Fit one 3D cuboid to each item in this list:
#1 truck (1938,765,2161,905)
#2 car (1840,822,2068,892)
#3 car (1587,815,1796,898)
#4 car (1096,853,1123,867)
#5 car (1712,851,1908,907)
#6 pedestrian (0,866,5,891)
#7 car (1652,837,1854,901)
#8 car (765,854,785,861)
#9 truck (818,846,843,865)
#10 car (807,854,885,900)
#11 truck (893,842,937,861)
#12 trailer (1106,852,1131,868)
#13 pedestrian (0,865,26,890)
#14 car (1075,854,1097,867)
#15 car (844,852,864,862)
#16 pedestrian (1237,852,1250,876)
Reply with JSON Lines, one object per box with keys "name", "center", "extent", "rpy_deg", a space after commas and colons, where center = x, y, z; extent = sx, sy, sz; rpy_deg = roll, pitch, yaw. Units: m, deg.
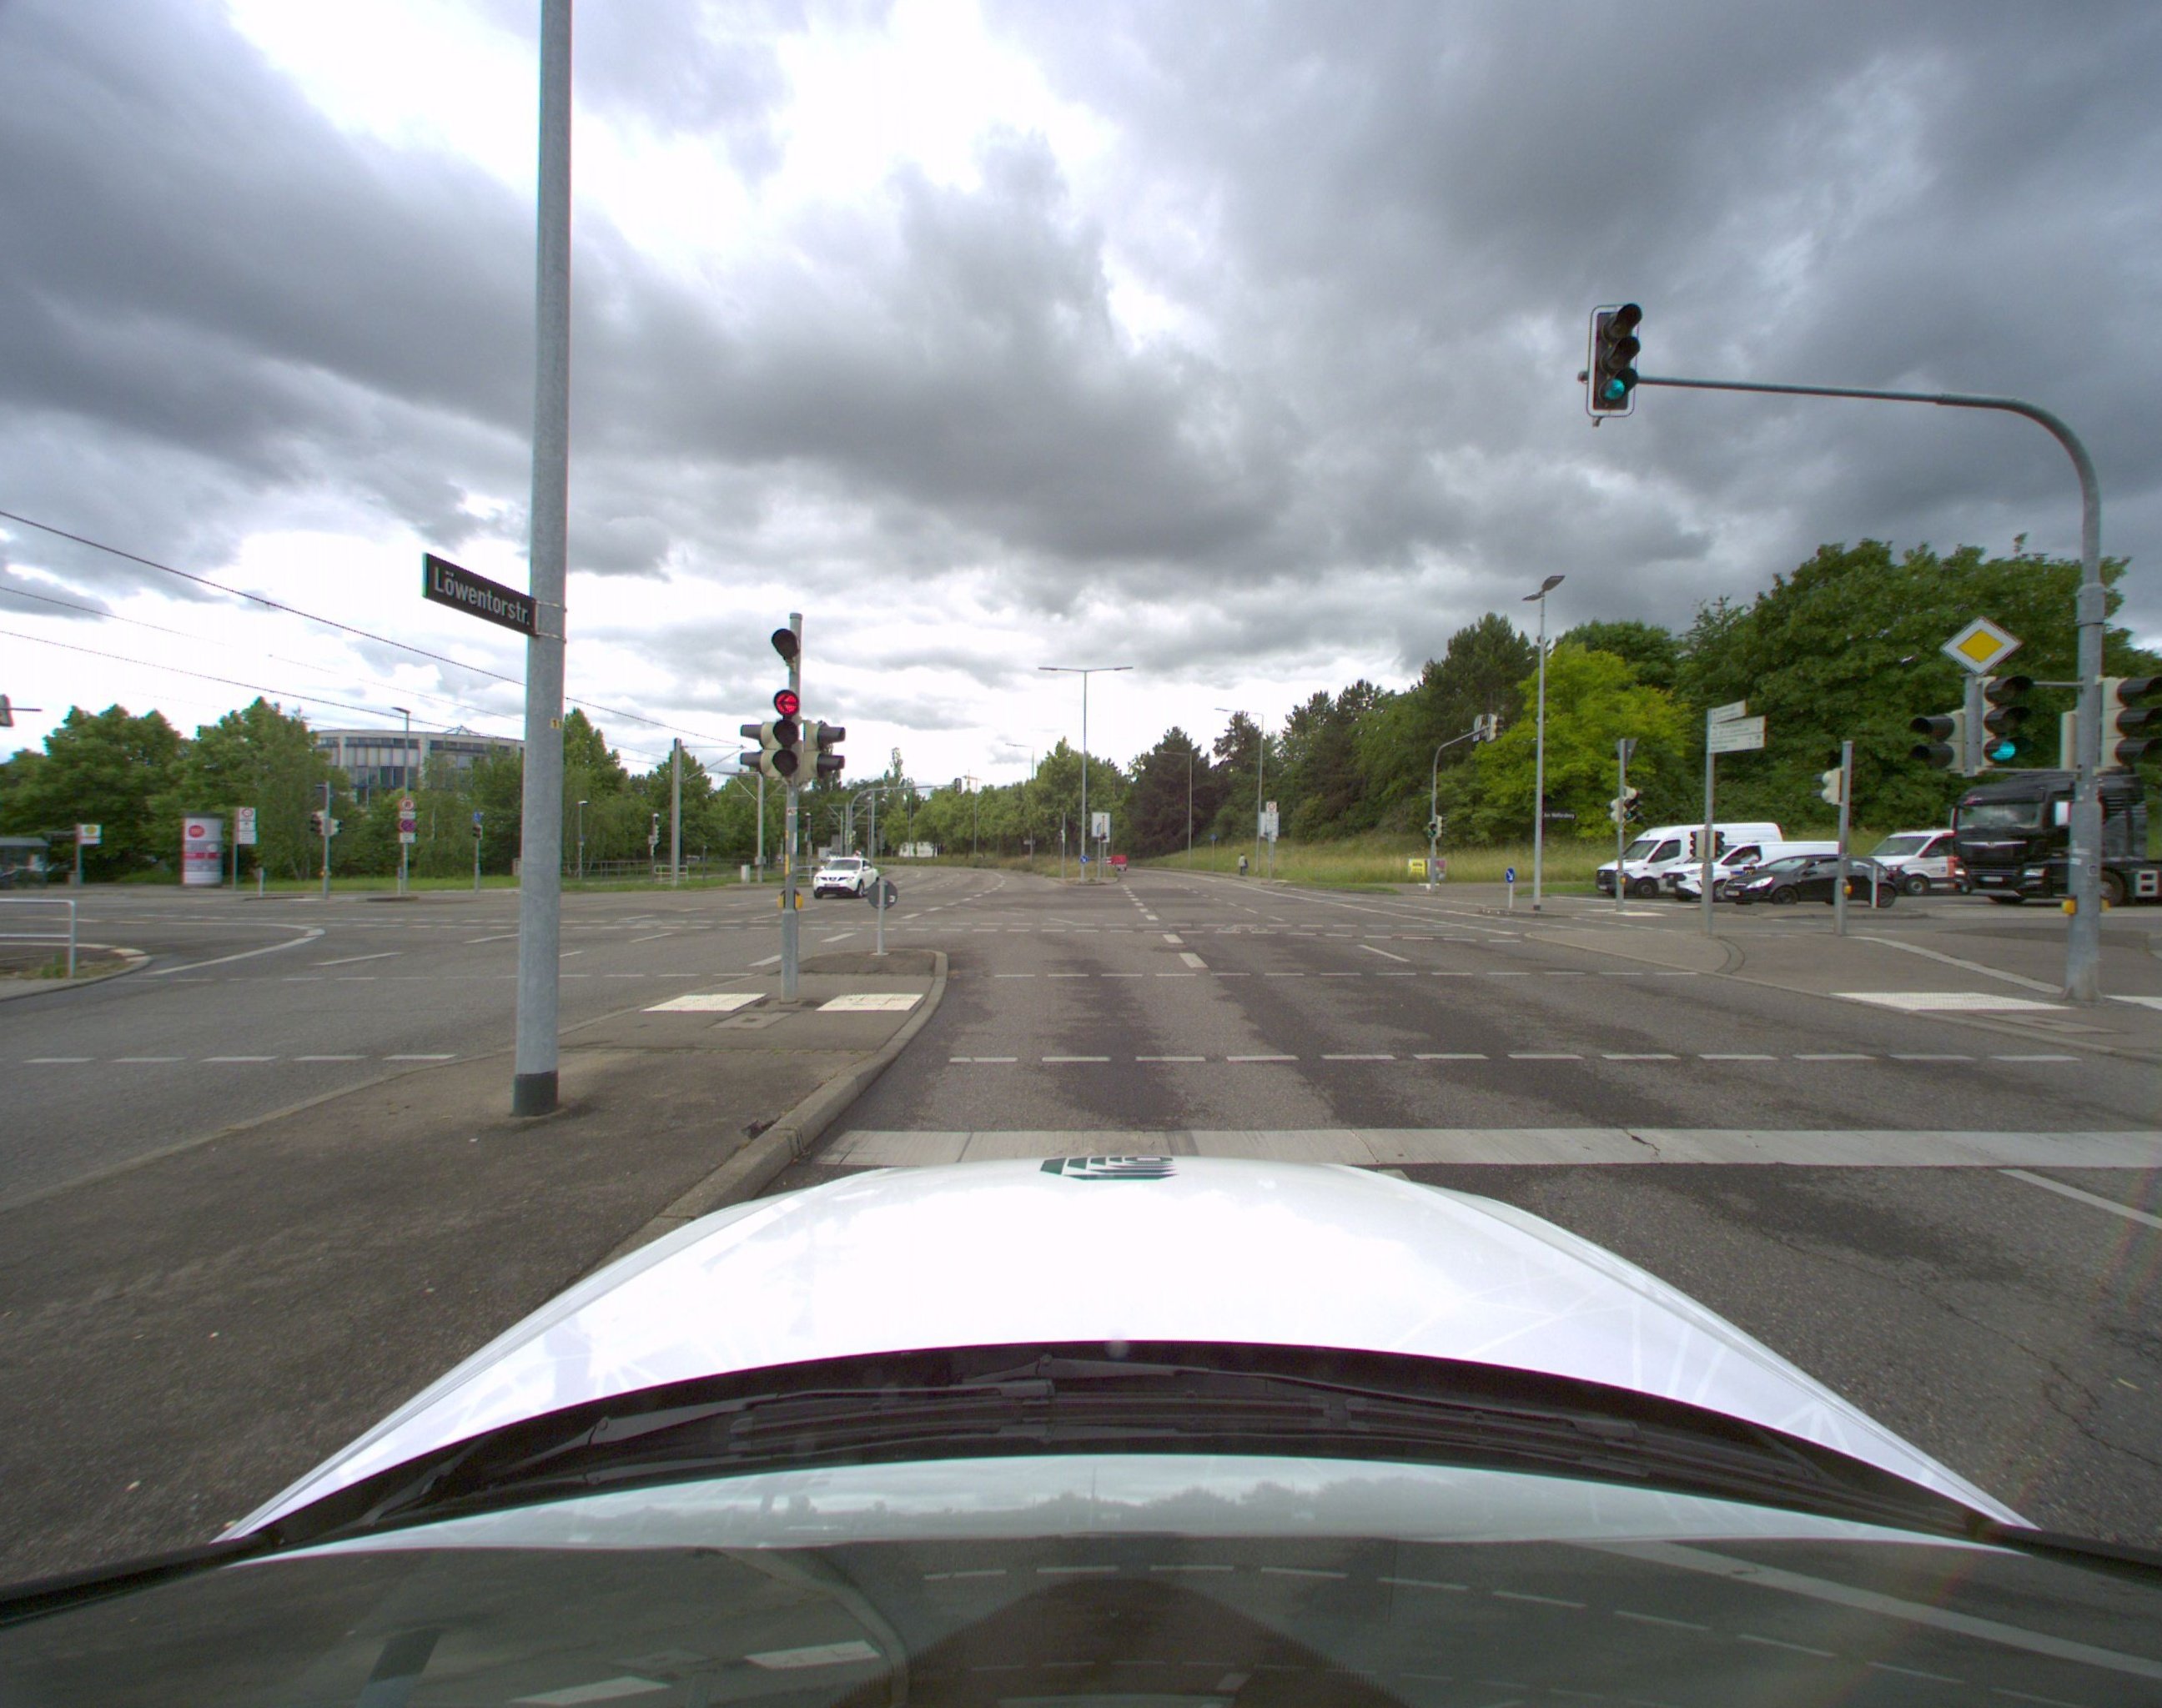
{"name": "truck", "center": [27.929, -0.516, 22.269], "extent": [6.027, 3.538, 2.729], "rpy_deg": [-1, 0, 2]}
{"name": "car", "center": [30.678, 0.108, 28.762], "extent": [5.677, 2.289, 2.136], "rpy_deg": [-1, 0, 2]}
{"name": "car", "center": [21.893, 0.094, 29.409], "extent": [5.870, 2.781, 2.136], "rpy_deg": [-1, 0, 2]}
{"name": "car", "center": [2.999, 0.636, 88.090], "extent": [1.780, 1.421, 4.437], "rpy_deg": [-1, 0, -14]}
{"name": "car", "center": [20.275, 0.668, 22.772], "extent": [3.905, 1.436, 1.732], "rpy_deg": [-1, 0, 1]}
{"name": "pedestrian", "center": [-57.766, 1.297, 43.134], "extent": [0.774, 1.303, 0.666], "rpy_deg": [0, 0, 15]}
{"name": "car", "center": [21.586, 0.456, 26.329], "extent": [4.836, 1.896, 2.034], "rpy_deg": [-1, 0, 1]}
{"name": "car", "center": [-65.980, 0.814, 175.778], "extent": [3.974, 1.546, 1.795], "rpy_deg": [0, 0, 28]}
{"name": "truck", "center": [-44.527, 0.293, 144.581], "extent": [2.133, 3.135, 5.831], "rpy_deg": [0, -1, -40]}
{"name": "car", "center": [-9.247, 0.853, 32.402], "extent": [1.823, 1.629, 4.423], "rpy_deg": [-1, 0, -1]}
{"name": "truck", "center": [-30.666, -0.425, 150.001], "extent": [2.763, 3.328, 11.271], "rpy_deg": [-1, 0, -41]}
{"name": "trailer", "center": [3.889, 0.574, 84.470], "extent": [1.767, 1.616, 3.029], "rpy_deg": [-1, 0, -14]}
{"name": "pedestrian", "center": [-56.402, 1.239, 42.942], "extent": [0.774, 1.304, 0.666], "rpy_deg": [0, 0, 15]}
{"name": "car", "center": [0.535, 0.790, 98.454], "extent": [1.780, 1.546, 4.007], "rpy_deg": [-1, 0, -13]}
{"name": "car", "center": [-45.571, 0.644, 163.166], "extent": [3.949, 2.014, 2.012], "rpy_deg": [-1, -1, 41]}
{"name": "pedestrian", "center": [11.453, 0.689, 57.455], "extent": [0.811, 1.627, 0.791], "rpy_deg": [0, 0, 1]}
